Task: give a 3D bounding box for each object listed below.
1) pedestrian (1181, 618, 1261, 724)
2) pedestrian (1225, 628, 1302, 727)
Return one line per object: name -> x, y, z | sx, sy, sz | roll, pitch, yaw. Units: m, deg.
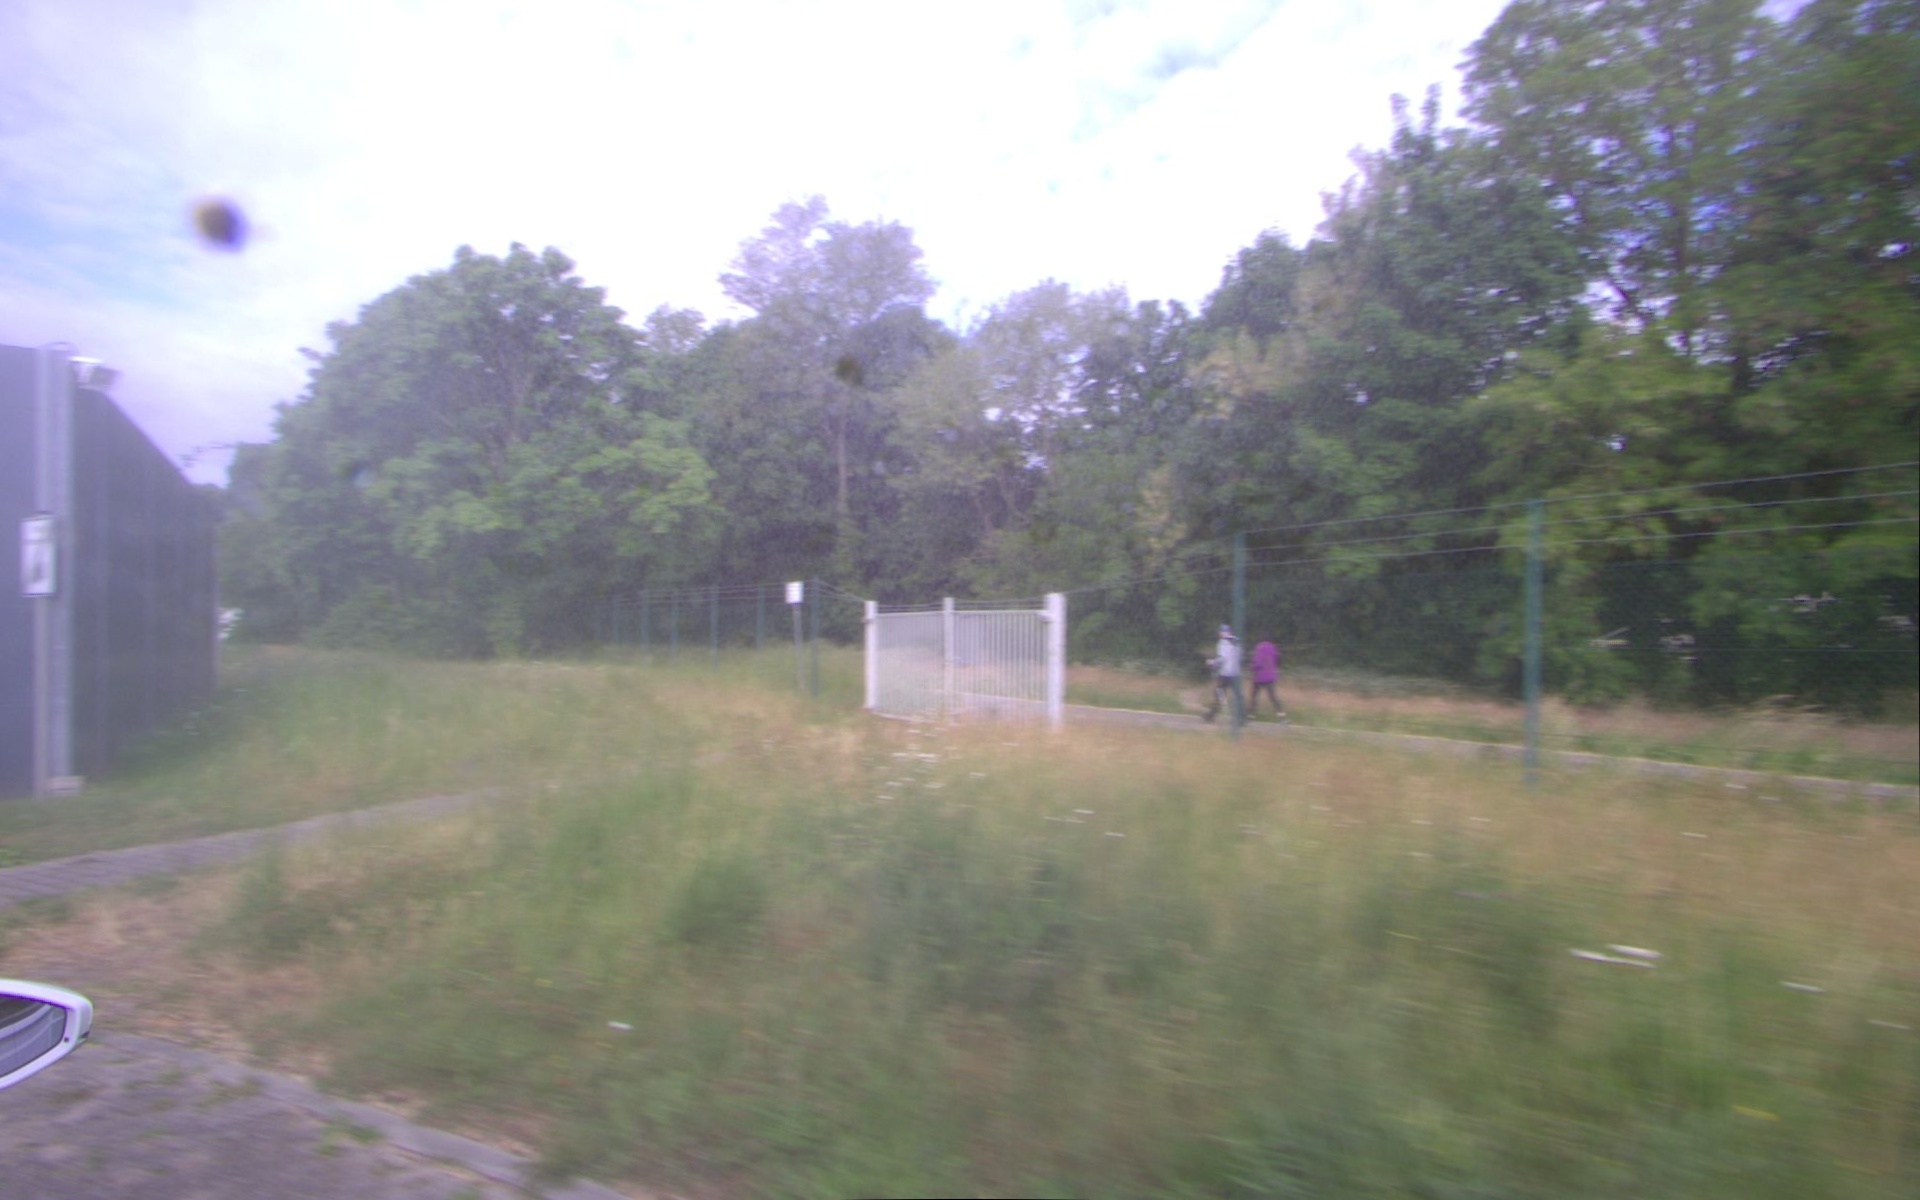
pedestrian -> 4.369, 1.167, 16.802 | 0.832, 1.704, 1.033 | 0, -1, -28
pedestrian -> 5.101, 1.277, 16.839 | 0.727, 1.594, 1.029 | 0, -1, -31
